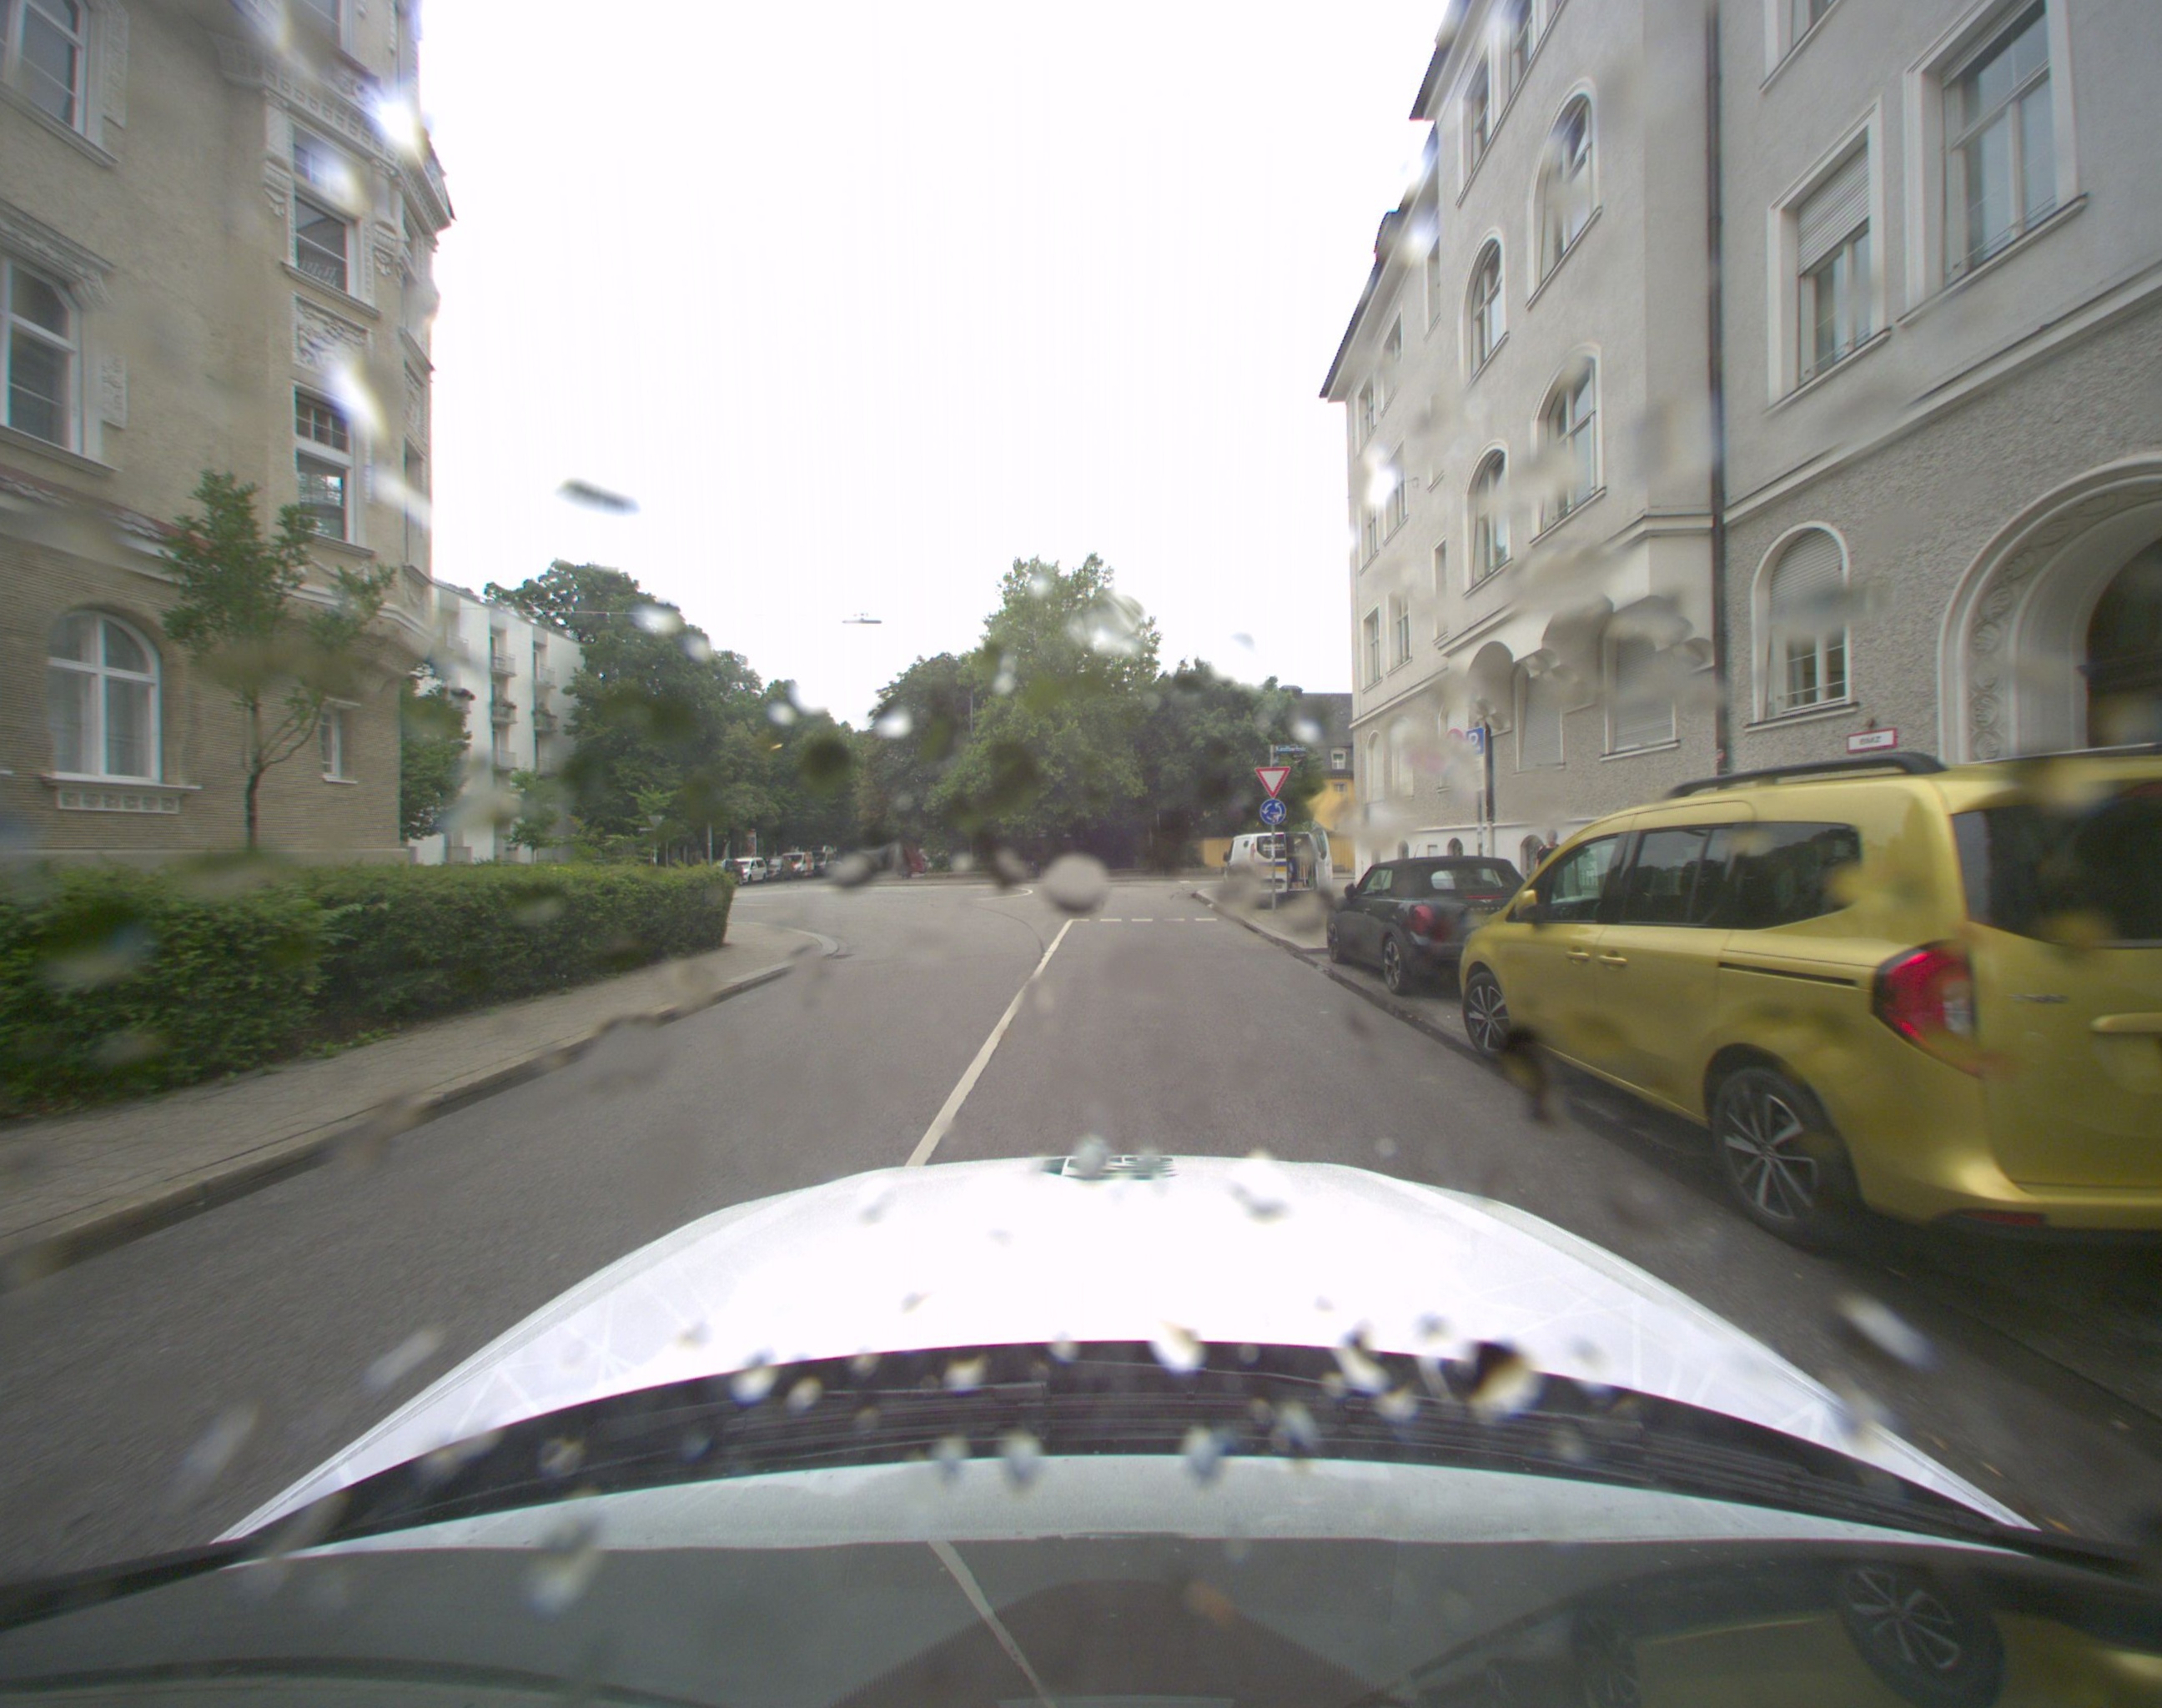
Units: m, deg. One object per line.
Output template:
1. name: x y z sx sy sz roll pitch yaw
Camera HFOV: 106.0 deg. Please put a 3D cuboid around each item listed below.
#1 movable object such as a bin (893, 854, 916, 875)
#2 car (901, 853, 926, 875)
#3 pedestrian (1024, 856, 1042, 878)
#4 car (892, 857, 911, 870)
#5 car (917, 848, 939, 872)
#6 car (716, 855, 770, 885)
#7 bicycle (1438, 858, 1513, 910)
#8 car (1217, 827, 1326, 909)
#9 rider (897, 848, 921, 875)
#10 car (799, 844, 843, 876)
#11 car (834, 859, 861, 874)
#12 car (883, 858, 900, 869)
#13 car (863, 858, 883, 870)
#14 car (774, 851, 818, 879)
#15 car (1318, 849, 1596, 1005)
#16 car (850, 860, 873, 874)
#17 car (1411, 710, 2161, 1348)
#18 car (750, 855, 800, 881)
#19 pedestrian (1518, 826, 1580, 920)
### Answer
1. movable object such as a bin: -11.651 0.699 53.821 1.071 1.267 1.090 -4 0 9
2. car: -15.540 0.884 75.798 2.041 1.922 4.432 -1 0 -9
3. pedestrian: -2.695 0.722 45.987 0.807 1.189 0.921 -1 0 8
4. car: -20.690 1.093 94.076 1.787 1.492 3.988 -1 0 -8
5. car: -17.137 0.652 91.462 2.040 2.558 5.233 -1 0 -8
6. car: -22.641 1.044 54.758 1.922 1.895 4.860 -1 0 -4
7. bicycle: 9.162 0.669 19.040 0.691 1.094 2.284 -3 0 3
8. car: 5.156 0.343 22.711 1.909 1.962 4.928 -2 0 1
9. rider: -11.527 0.496 54.619 1.075 1.667 1.142 -4 0 9
10. car: -24.739 0.564 77.874 2.330 2.922 6.571 -1 0 -3
11. car: -25.415 1.365 88.733 1.892 1.538 4.068 -1 0 -4
12. car: -28.840 1.424 124.291 1.892 1.571 4.068 -1 0 -4
13. car: -27.665 1.338 108.513 1.892 1.571 4.068 -1 0 -4
14. car: -23.913 0.902 68.535 2.106 2.251 5.189 -1 0 -3
15. car: 4.148 0.689 9.705 1.657 1.457 3.899 -1 0 3
16. car: -26.215 1.521 97.255 1.892 1.571 4.068 -1 0 -4
17. car: 3.667 0.488 4.750 1.842 1.853 4.827 -1 0 5
18. car: -22.996 1.032 61.381 2.060 1.859 4.981 -1 0 -3
19. pedestrian: 8.948 0.364 15.566 0.697 1.737 0.727 -2 -3 -43
